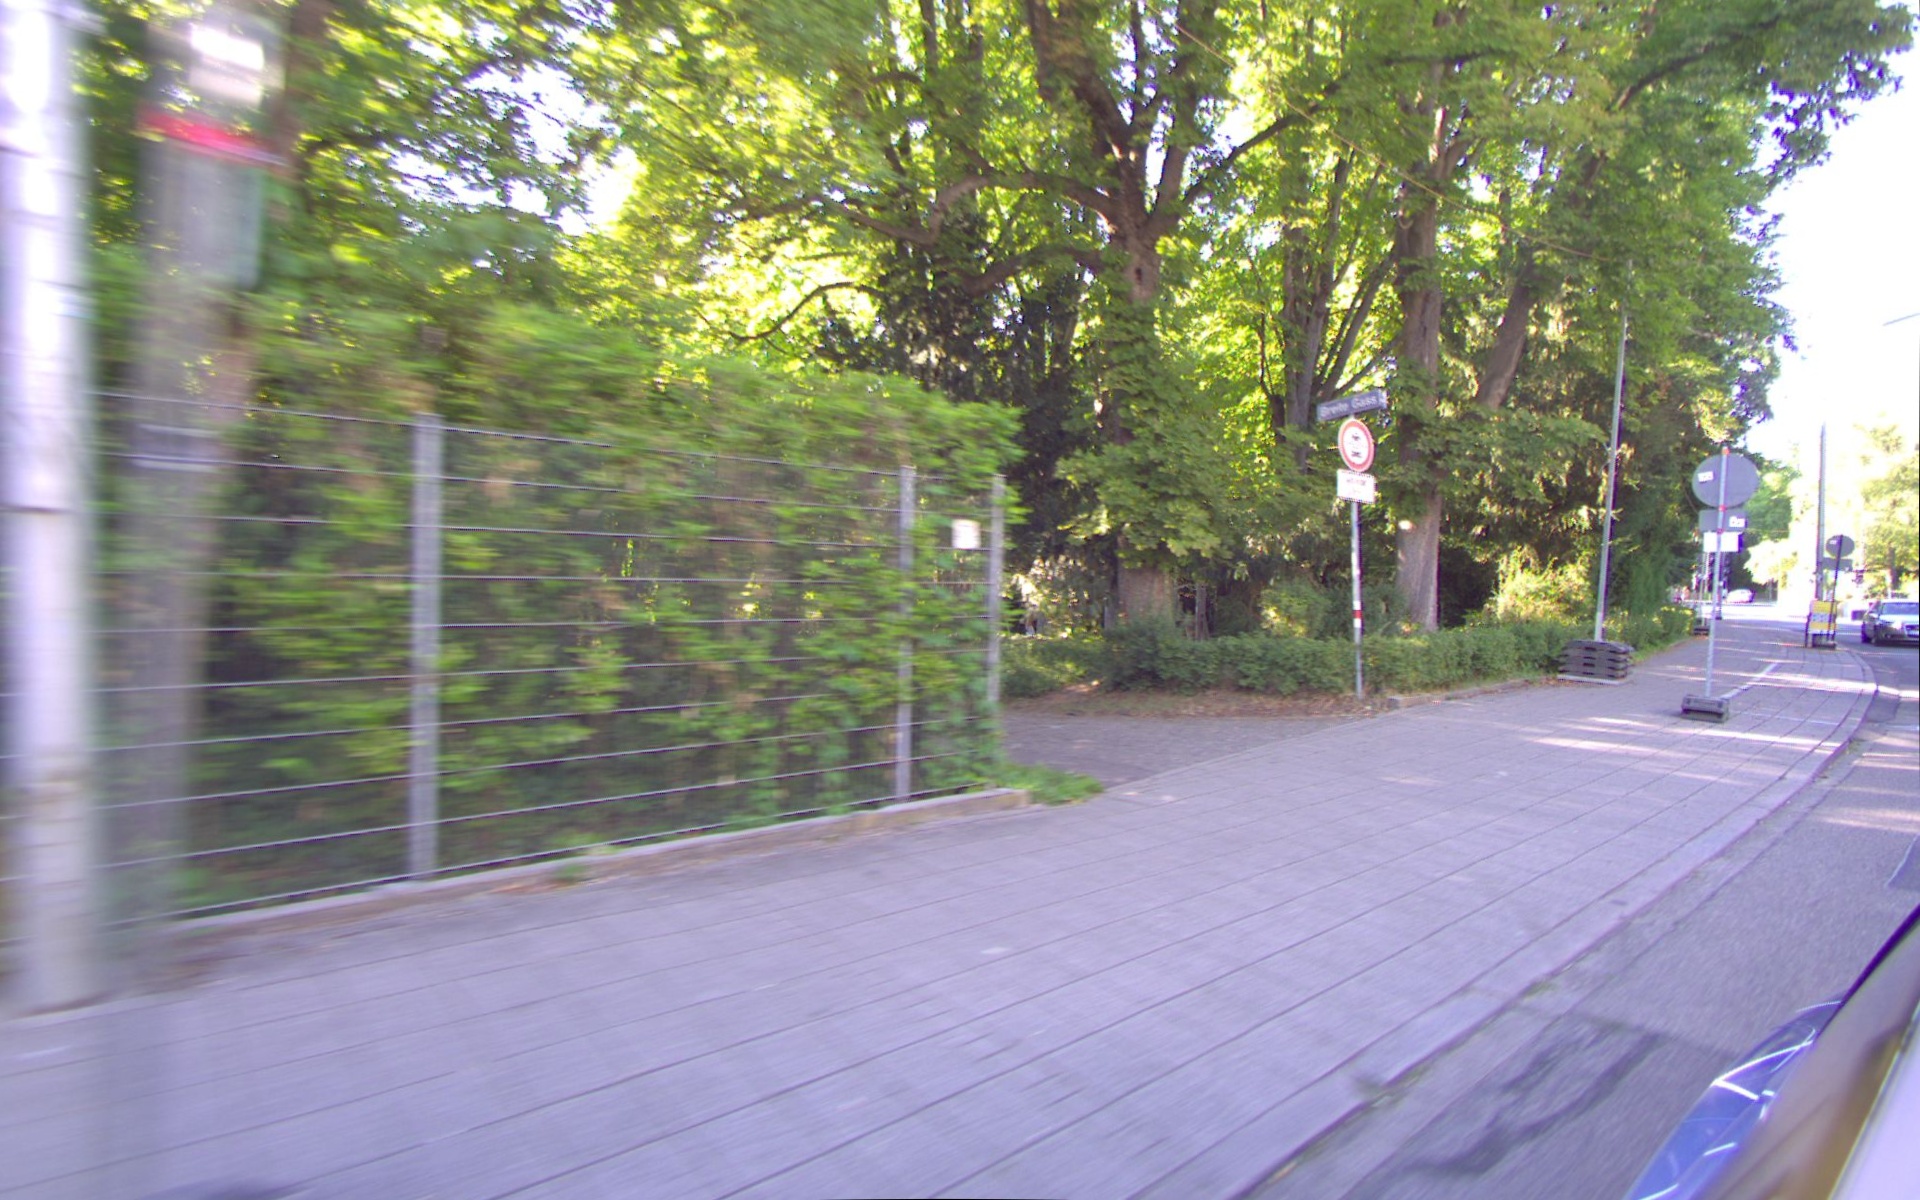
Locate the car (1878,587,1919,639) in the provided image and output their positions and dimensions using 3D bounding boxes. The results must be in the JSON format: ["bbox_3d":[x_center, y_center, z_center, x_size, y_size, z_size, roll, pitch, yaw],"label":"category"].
[{"bbox_3d":[29.465,0.370,31.002,1.654,1.495,3.633,1,1,38],"label":"car"}]
